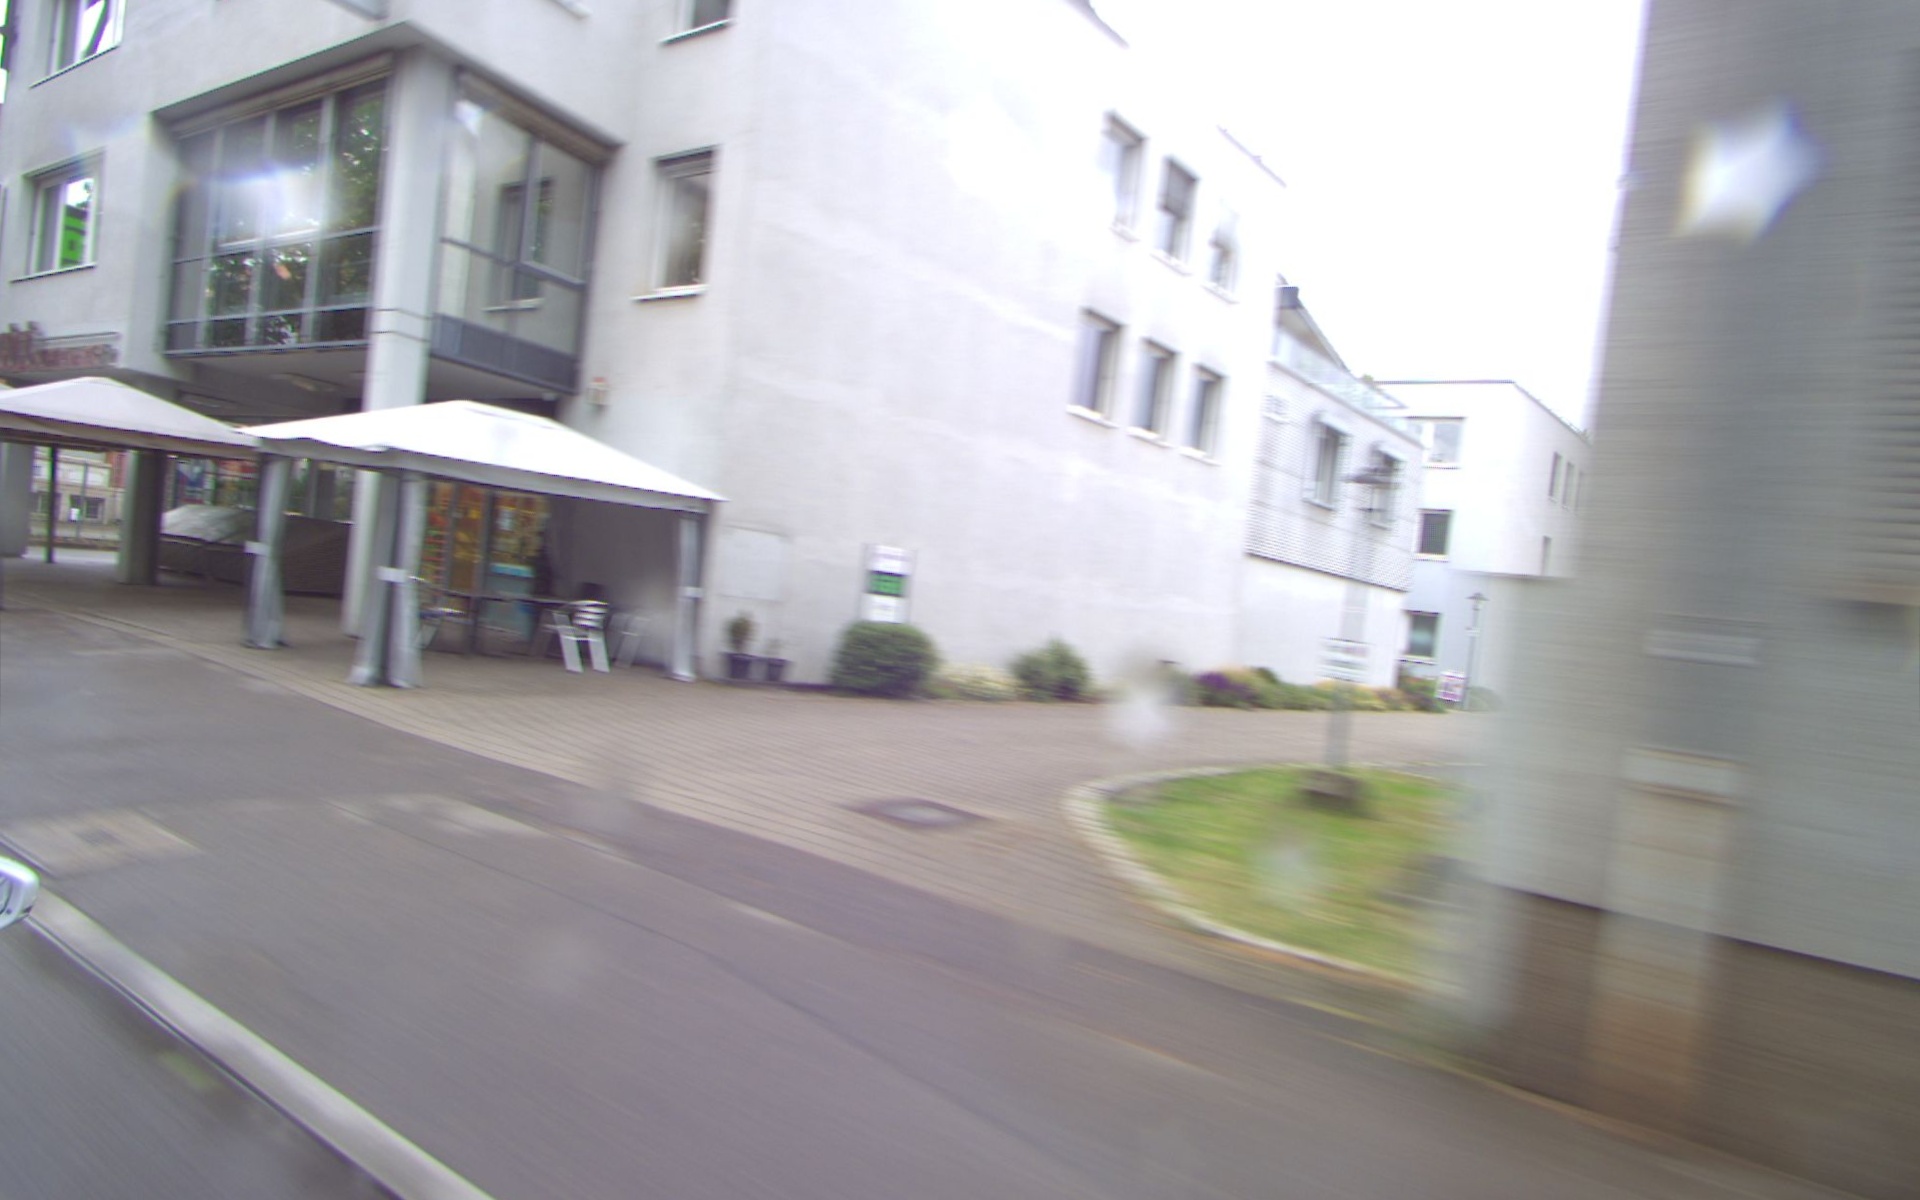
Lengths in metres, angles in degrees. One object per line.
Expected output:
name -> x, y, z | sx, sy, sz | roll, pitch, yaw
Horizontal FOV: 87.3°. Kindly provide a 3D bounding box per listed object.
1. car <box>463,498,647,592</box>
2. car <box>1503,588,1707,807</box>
car -> -15.874, -2.136, 39.667 | 6.084, 2.732, 2.140 | 7, -1, 0
car -> 9.805, 1.436, 15.493 | 2.031, 2.626, 5.269 | 6, -1, 32
